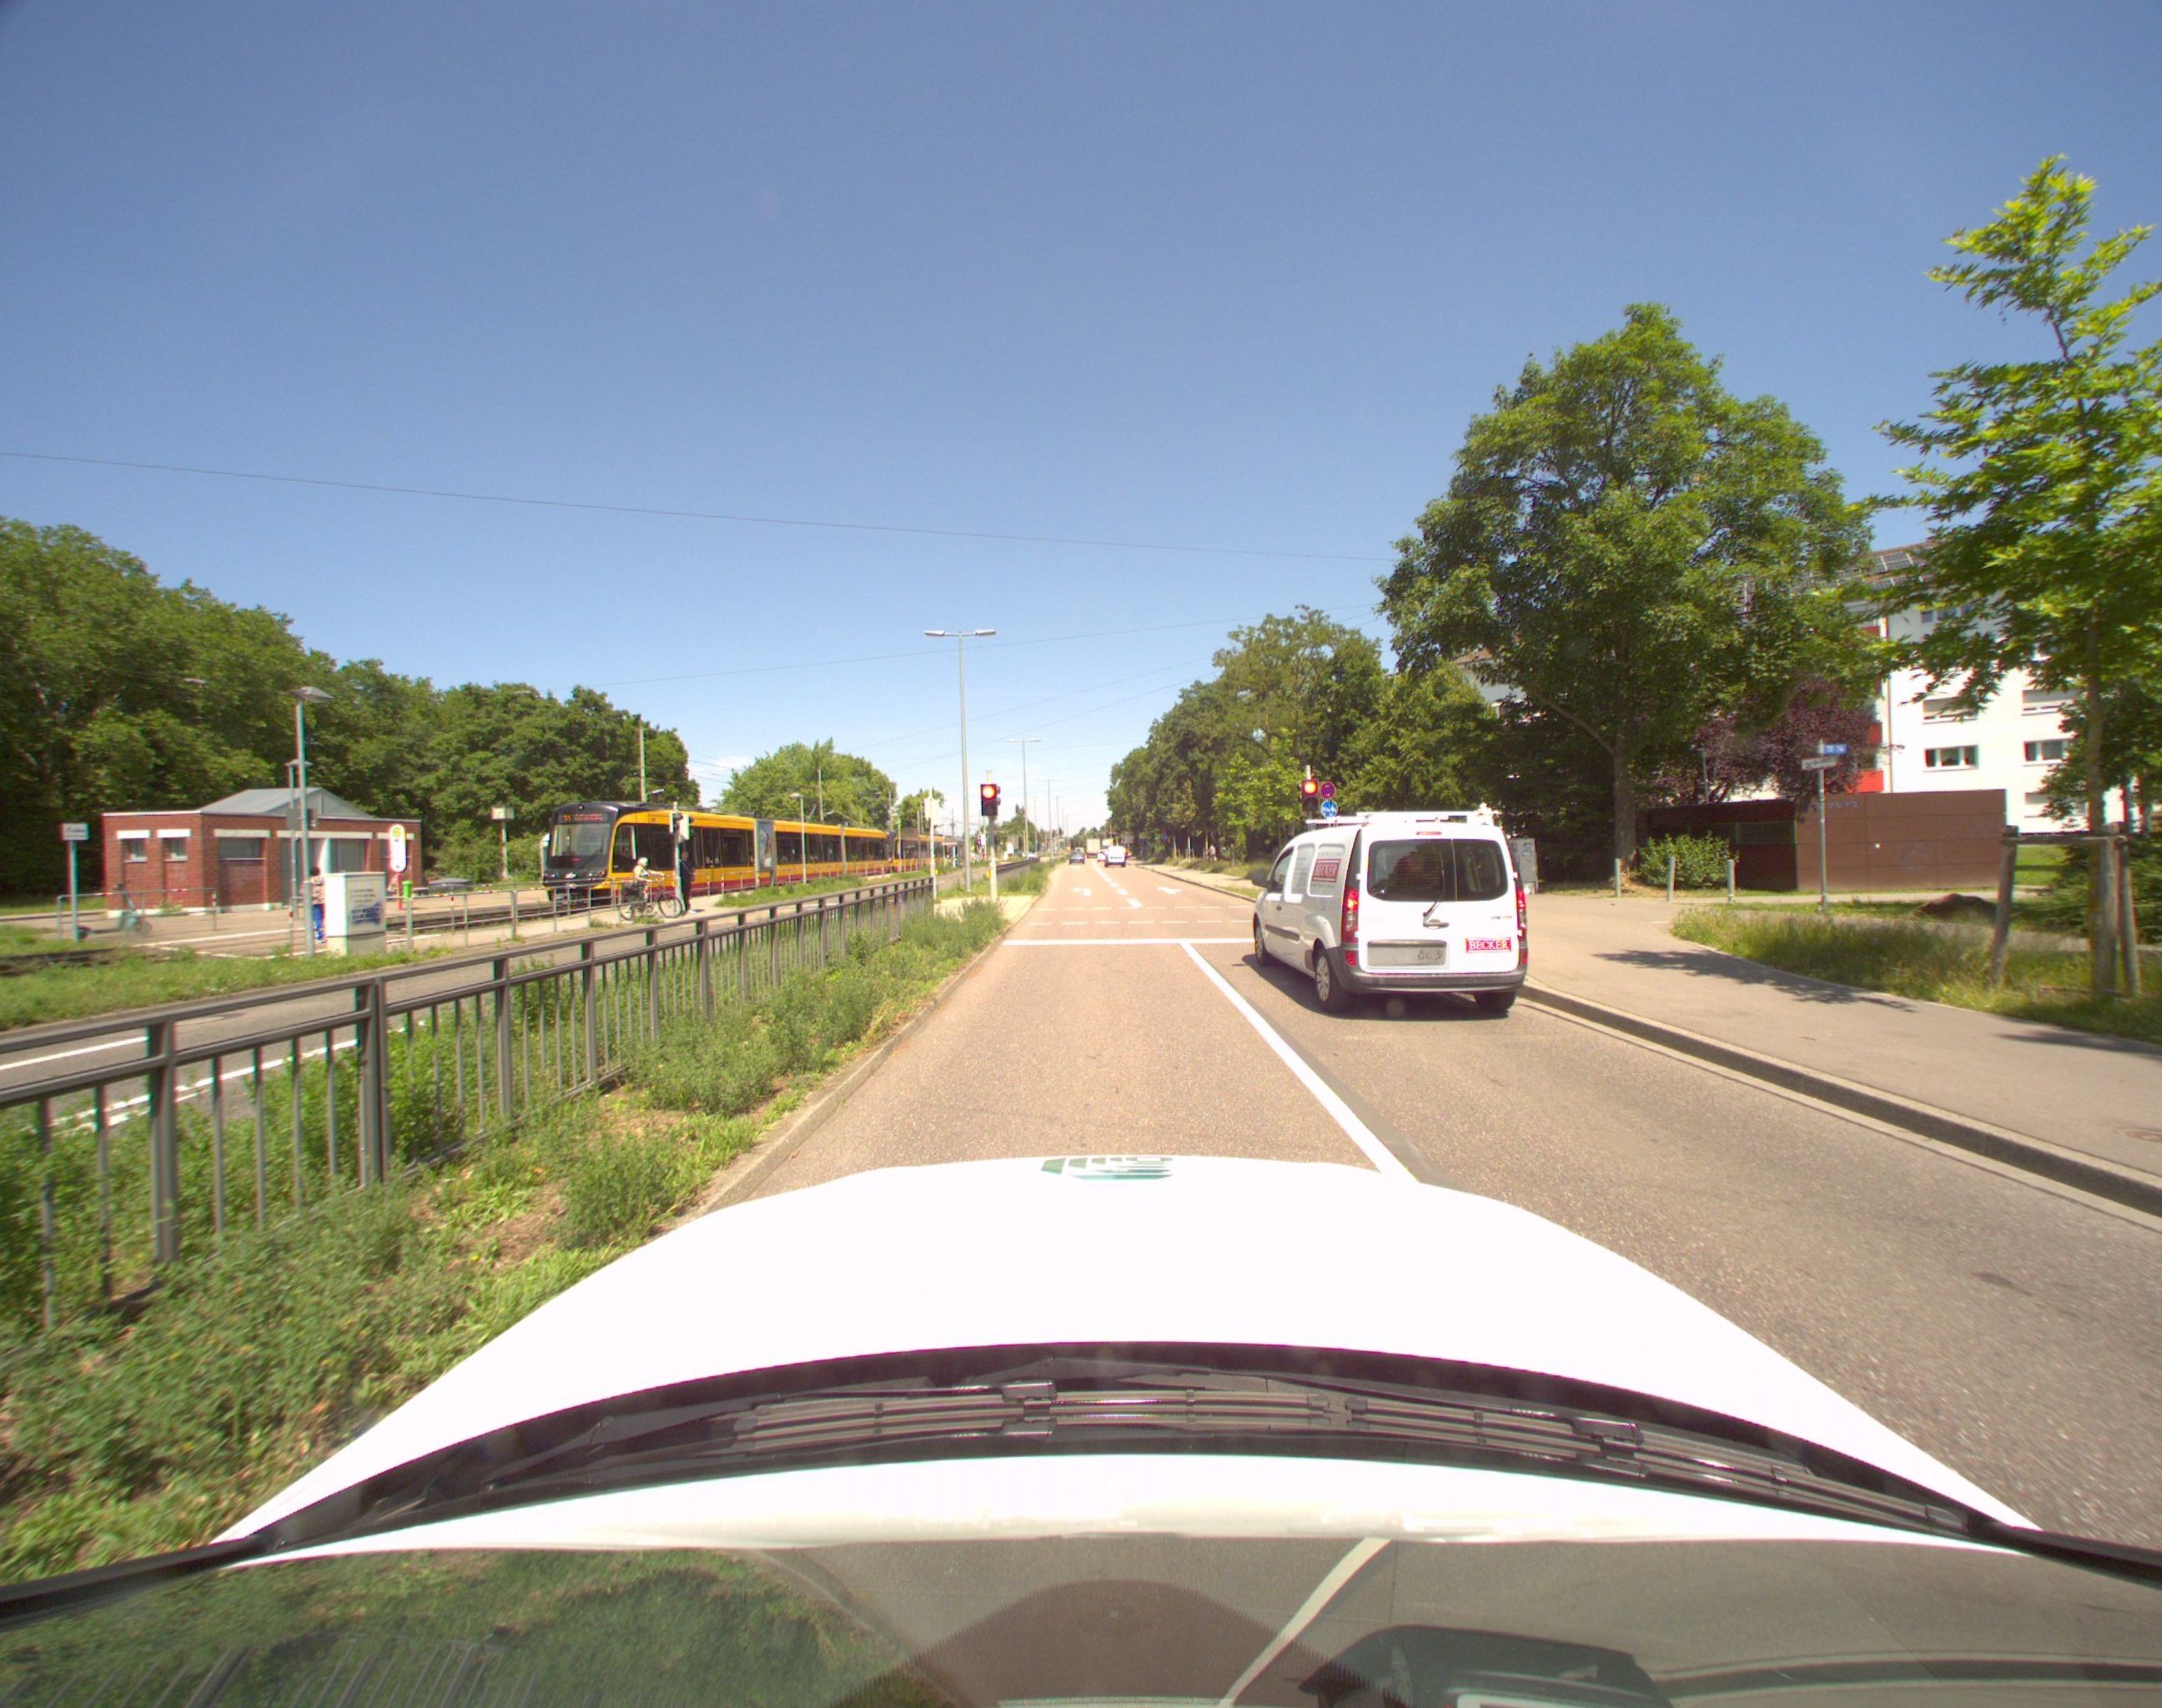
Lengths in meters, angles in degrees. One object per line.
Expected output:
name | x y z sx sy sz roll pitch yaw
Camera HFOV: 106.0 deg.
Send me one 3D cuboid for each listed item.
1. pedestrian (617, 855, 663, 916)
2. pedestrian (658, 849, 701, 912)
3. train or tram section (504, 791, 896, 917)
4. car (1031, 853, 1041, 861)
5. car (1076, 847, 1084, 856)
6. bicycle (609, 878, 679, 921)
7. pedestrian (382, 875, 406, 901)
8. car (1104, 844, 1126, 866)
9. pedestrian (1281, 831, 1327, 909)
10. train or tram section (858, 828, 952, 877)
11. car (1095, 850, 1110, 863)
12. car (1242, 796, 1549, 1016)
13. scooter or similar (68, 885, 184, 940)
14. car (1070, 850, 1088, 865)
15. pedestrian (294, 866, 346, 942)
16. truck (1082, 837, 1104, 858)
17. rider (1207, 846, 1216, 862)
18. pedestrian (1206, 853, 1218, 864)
pedestrian | -12.131 0.850 22.409 0.815 1.628 0.706 -1 0 5
pedestrian | -11.876 0.770 24.098 0.949 1.797 0.709 -1 0 29
train or tram section | -15.526 -0.058 42.811 2.779 3.668 37.514 -1 0 0
car | -9.331 0.604 168.160 1.989 1.650 3.995 -2 0 -4
car | -0.162 -0.534 175.345 1.682 1.897 3.870 -1 0 0
bicycle | -11.975 1.245 22.318 1.854 1.157 0.243 -1 0 5
pedestrian | -27.522 1.365 32.613 0.479 1.018 0.522 -1 0 2
car | 3.029 0.064 70.994 1.719 1.813 4.006 0 1 5
pedestrian | 5.439 0.384 19.886 1.039 1.850 0.760 -1 0 14
train or tram section | -15.392 -0.146 74.510 2.779 3.668 25.996 -1 0 0
car | 2.682 0.285 103.862 1.797 1.540 4.000 -1 0 0
car | 3.148 0.437 9.226 1.818 1.881 4.456 0 0 1
scooter or similar | -22.020 1.327 18.821 0.605 1.127 1.683 -1 0 44
car | -0.153 0.340 88.258 1.795 1.486 4.002 -1 0 2
pedestrian | -15.909 1.036 17.025 0.858 1.541 0.541 -1 0 30
truck | 2.278 -1.191 159.273 3.887 3.812 10.791 -1 0 0
rider | 10.519 -0.031 65.593 0.676 1.281 0.533 -1 0 -1
pedestrian | 10.523 0.347 65.637 0.676 0.847 1.773 -1 0 0
